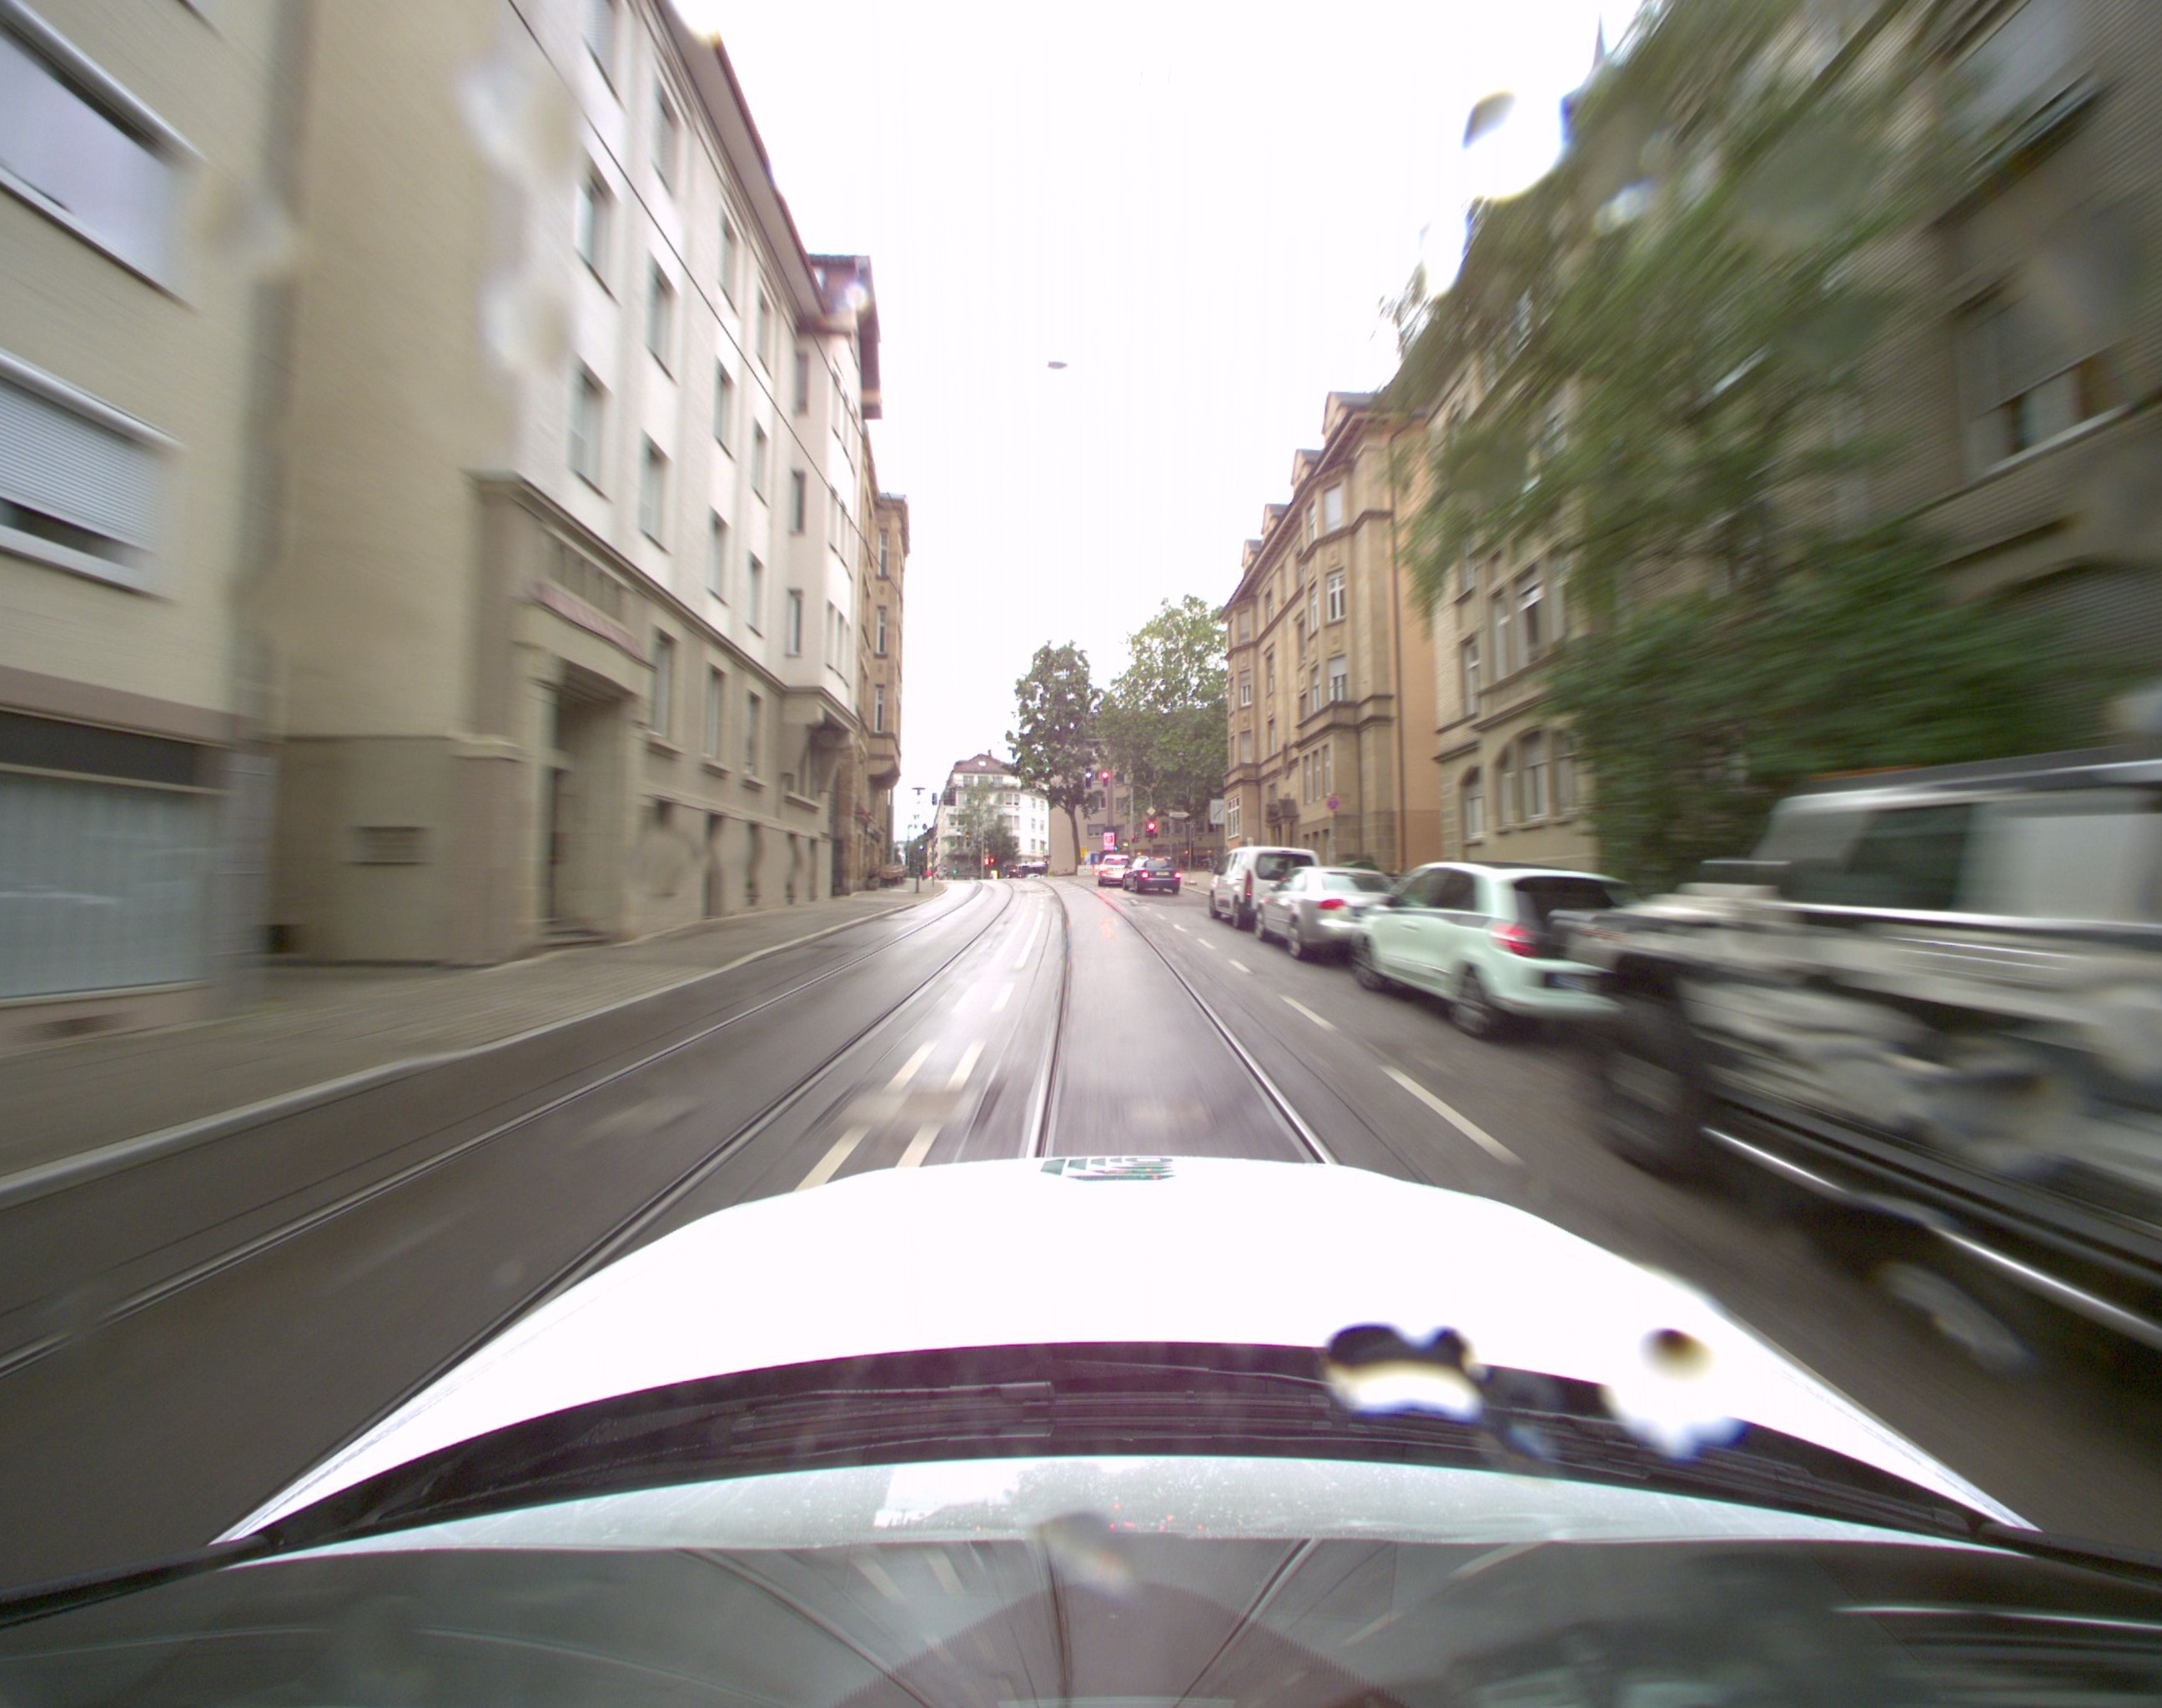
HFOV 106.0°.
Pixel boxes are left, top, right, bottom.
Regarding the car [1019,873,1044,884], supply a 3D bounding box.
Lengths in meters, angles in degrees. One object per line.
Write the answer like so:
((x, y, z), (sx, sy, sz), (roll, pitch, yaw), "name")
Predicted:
((-7.066, 3.484, 116.793), (1.778, 1.510, 4.023), (-1, 0, 26), "car")

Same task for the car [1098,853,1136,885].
((1.662, 0.684, 38.965), (1.704, 1.456, 3.553), (1, 0, 1), "car")

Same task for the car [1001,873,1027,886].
((-9.165, 3.444, 111.964), (1.778, 1.614, 4.023), (-1, 0, 26), "car")

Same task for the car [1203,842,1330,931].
((4.137, 0.670, 18.908), (1.792, 1.765, 4.460), (2, 0, -1), "car")

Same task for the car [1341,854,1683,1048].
((4.100, 0.798, 8.447), (1.556, 1.546, 3.582), (2, 0, -2), "car")

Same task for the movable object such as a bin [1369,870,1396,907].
((8.772, 1.002, 23.700), (0.525, 1.030, 0.665), (3, -1, 6), "movable object such as a bin")

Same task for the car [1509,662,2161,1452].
((3.828, 0.546, 2.523), (2.122, 2.013, 5.348), (2, 0, -1), "car")

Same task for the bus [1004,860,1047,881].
((-8.269, 2.467, 122.837), (2.829, 2.861, 8.780), (-1, 0, 22), "bus")

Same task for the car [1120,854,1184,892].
((2.813, 0.724, 33.055), (1.709, 1.415, 4.025), (1, 0, -8), "car")

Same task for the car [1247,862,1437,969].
((4.100, 0.876, 13.603), (1.743, 1.400, 4.478), (2, 0, 0), "car")

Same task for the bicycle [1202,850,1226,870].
((8.046, 0.364, 49.145), (1.297, 1.173, 0.525), (-2, 0, -4), "bicycle")

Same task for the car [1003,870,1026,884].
((-7.817, 2.681, 95.780), (1.784, 1.510, 4.008), (-3, 0, 7), "car")

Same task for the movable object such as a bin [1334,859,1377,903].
((9.613, 0.937, 28.546), (0.969, 1.432, 1.278), (4, -1, -3), "movable object such as a bin")
